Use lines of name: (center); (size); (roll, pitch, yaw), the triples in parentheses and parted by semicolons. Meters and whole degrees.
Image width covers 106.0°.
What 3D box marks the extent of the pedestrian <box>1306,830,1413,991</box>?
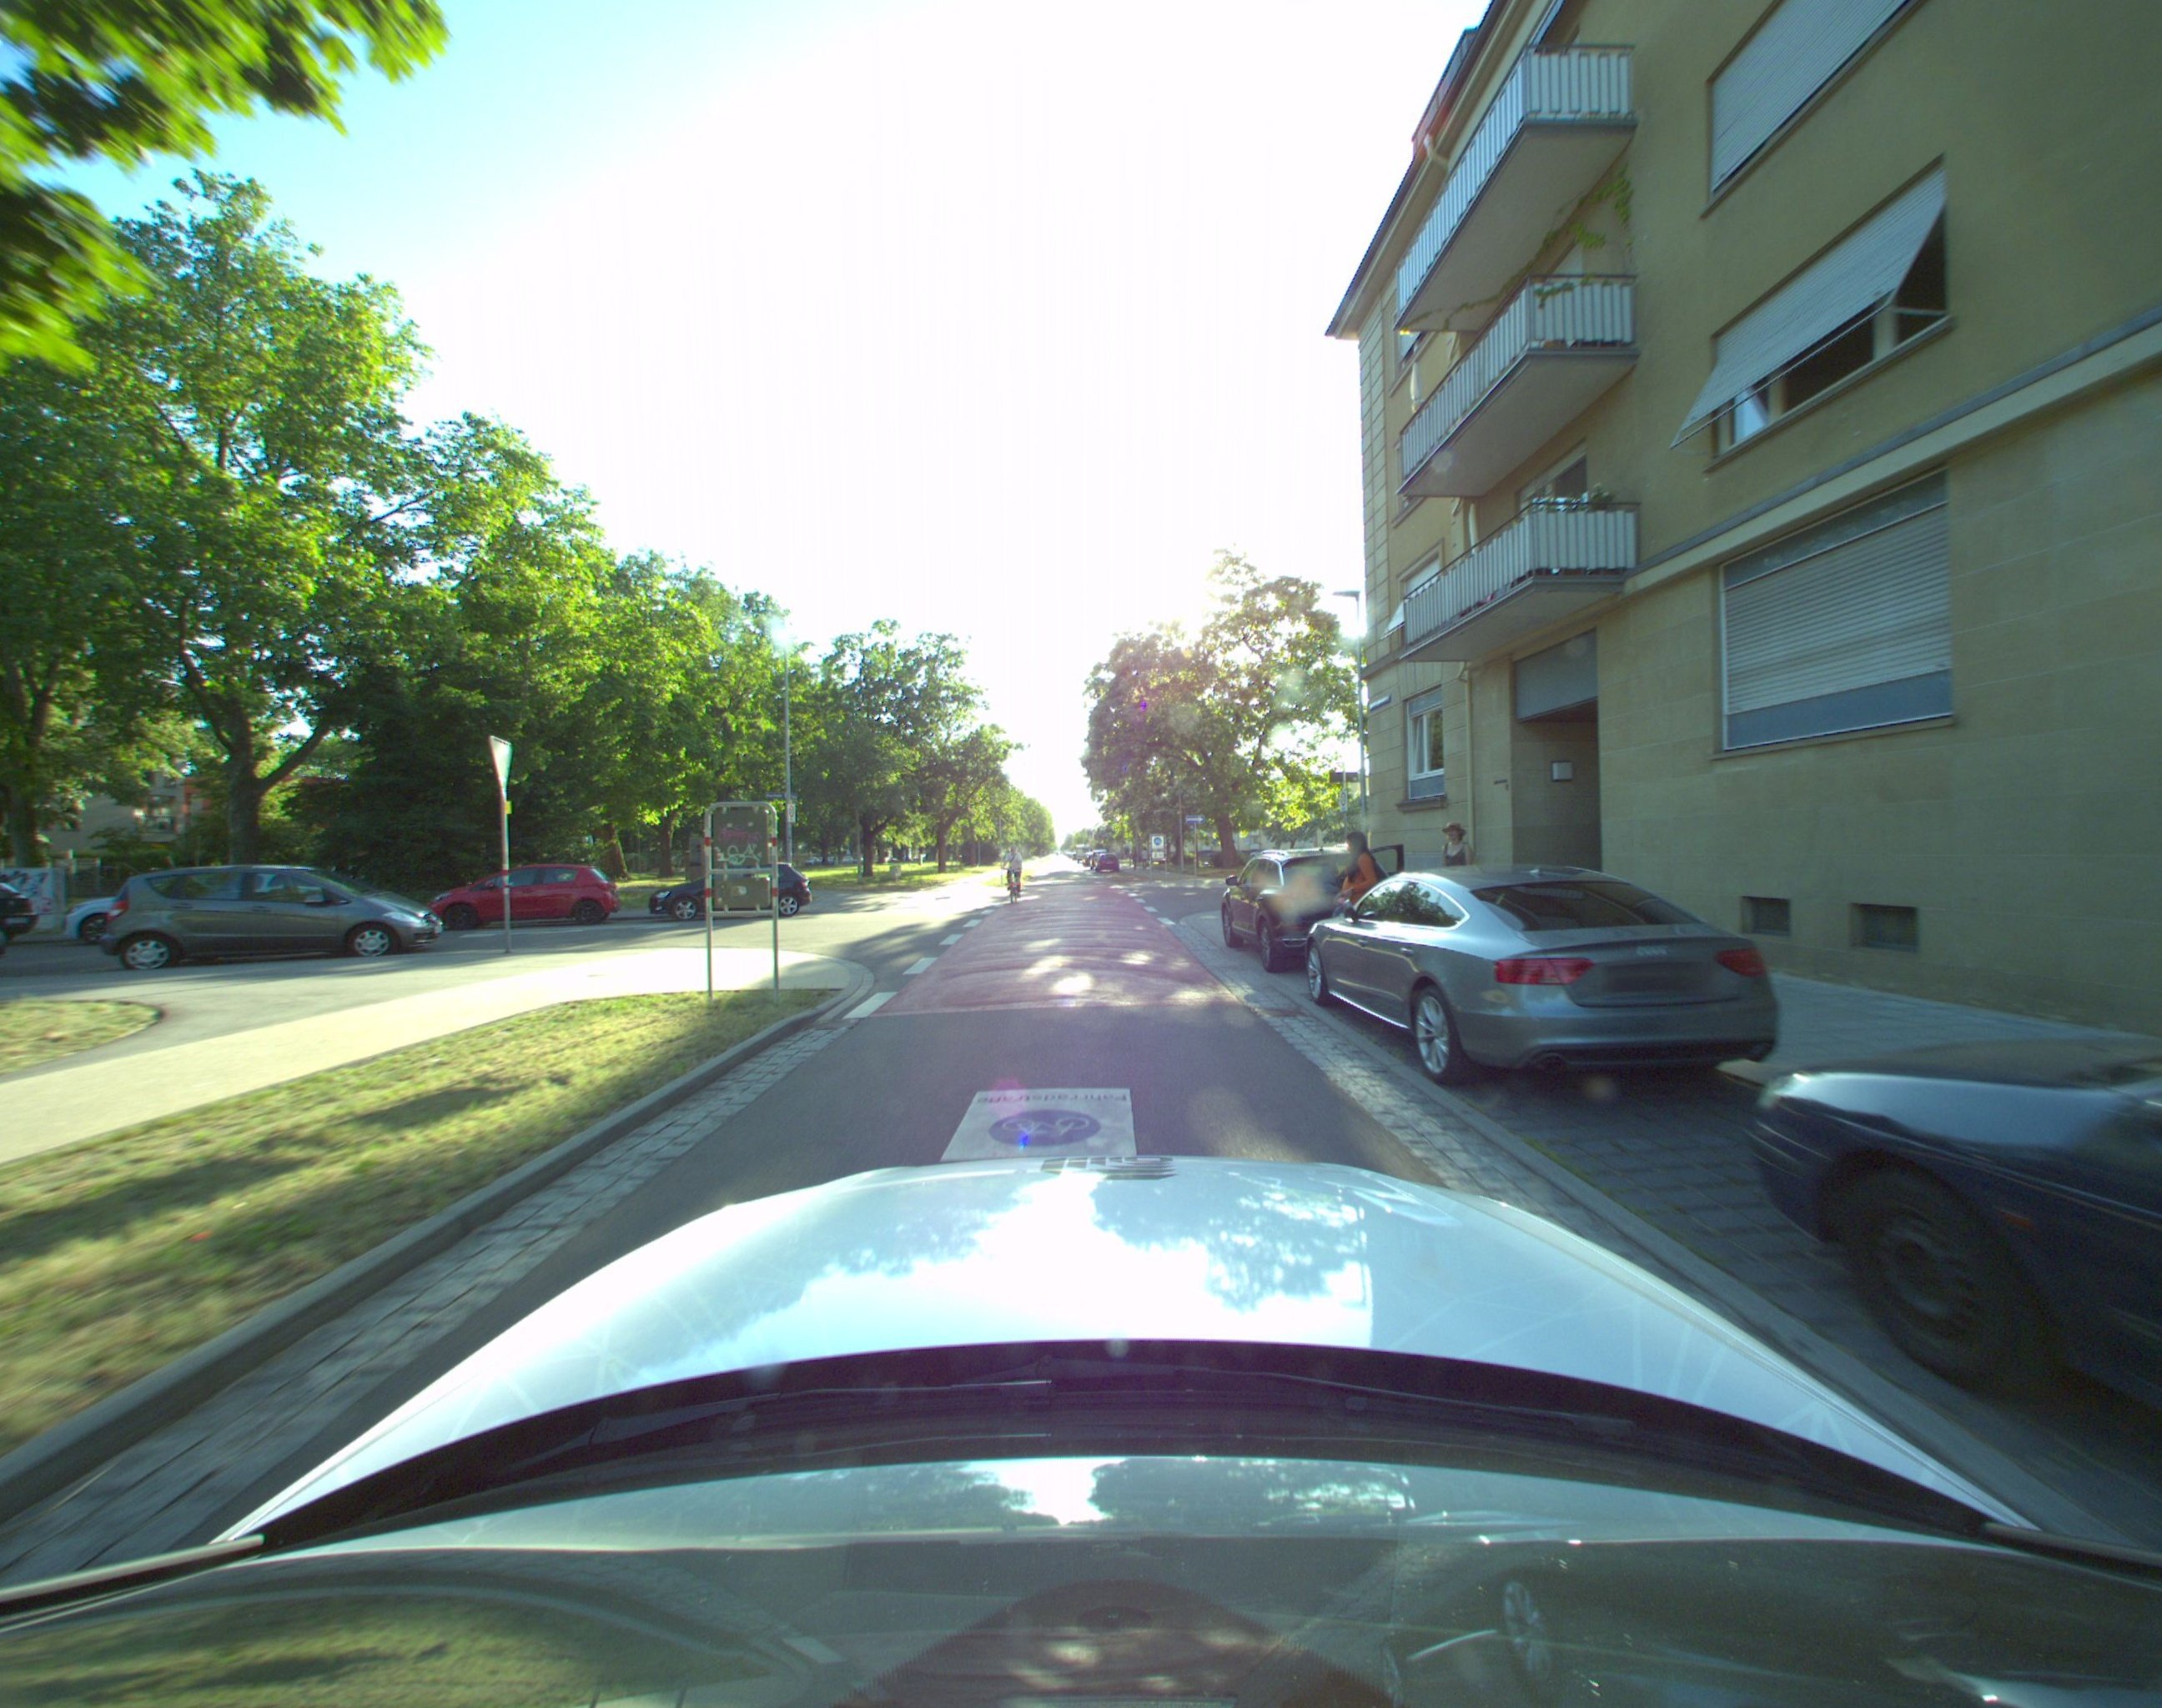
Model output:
pedestrian: (3.198, 0.624, 9.428); (0.950, 1.769, 0.778); (-1, 0, -3)

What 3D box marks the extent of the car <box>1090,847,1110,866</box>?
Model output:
car: (1.794, 0.230, 79.499); (1.674, 1.740, 4.510); (-2, 0, -2)

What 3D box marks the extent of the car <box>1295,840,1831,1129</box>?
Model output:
car: (3.118, 0.693, 6.486); (1.697, 1.420, 4.349); (-4, 0, 1)

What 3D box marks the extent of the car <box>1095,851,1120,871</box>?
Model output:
car: (2.097, 0.540, 65.535); (1.674, 1.486, 4.806); (-2, 0, -2)

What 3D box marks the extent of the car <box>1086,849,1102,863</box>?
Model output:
car: (1.456, 0.231, 94.908); (1.726, 1.551, 4.274); (-2, 0, -1)

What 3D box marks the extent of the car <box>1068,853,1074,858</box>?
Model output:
car: (-3.071, 0.490, 238.470); (1.622, 1.409, 4.246); (-2, 0, -2)

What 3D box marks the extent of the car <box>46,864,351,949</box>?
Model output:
car: (-18.720, 1.068, 17.566); (4.003, 1.574, 1.876); (-1, -2, -23)

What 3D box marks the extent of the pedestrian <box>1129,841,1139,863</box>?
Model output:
pedestrian: (4.203, -0.189, 64.538); (0.751, 1.736, 0.731); (-1, 0, -1)

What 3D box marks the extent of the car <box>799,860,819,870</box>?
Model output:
car: (-45.493, 1.775, 136.074); (1.988, 1.508, 3.998); (-2, 0, -1)

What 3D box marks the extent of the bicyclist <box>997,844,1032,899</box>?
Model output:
bicyclist: (-2.111, 0.538, 25.977); (0.933, 1.702, 0.907); (-1, 0, 5)

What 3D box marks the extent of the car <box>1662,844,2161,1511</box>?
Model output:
car: (3.260, 0.719, 1.273); (1.698, 1.420, 4.033); (-4, 0, -1)

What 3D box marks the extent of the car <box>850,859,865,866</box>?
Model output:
car: (-45.794, 1.746, 166.671); (1.988, 1.508, 4.113); (-2, 0, -1)

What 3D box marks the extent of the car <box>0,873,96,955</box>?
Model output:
car: (-22.734, 1.221, 15.916); (4.003, 1.574, 1.877); (-1, -2, -22)

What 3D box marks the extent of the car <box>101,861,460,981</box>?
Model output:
car: (-13.064, 1.007, 13.664); (3.854, 1.631, 1.824); (-2, 0, -26)

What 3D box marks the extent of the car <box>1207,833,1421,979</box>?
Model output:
car: (3.120, 0.577, 11.878); (1.698, 1.625, 4.346); (-4, 1, -1)

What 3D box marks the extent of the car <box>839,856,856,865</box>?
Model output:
car: (-45.153, 1.248, 157.637); (1.988, 1.508, 4.113); (-2, 0, -1)

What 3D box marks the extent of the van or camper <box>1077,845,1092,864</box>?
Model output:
van or camper: (0.562, 0.047, 132.382); (2.228, 2.904, 5.668); (-2, -1, -2)

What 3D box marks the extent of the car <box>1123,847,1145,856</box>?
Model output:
car: (10.062, -0.443, 154.661); (4.178, 1.530, 2.001); (-2, 0, 2)

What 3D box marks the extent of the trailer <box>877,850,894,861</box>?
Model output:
trailer: (-46.025, 0.460, 192.066); (2.452, 2.489, 7.047); (-2, 0, -1)

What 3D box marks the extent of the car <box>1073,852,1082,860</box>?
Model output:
car: (-0.754, 0.385, 173.589); (1.622, 1.669, 4.246); (-2, 0, -2)

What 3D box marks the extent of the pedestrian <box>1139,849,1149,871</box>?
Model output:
pedestrian: (5.000, 0.437, 64.567); (0.723, 1.736, 0.731); (-1, 0, -1)

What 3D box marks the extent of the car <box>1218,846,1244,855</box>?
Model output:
car: (27.887, -0.668, 151.227); (4.476, 1.569, 1.889); (-2, 0, 17)

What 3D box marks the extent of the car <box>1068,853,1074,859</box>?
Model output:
car: (-2.741, 0.591, 227.499); (1.622, 1.409, 4.246); (-2, 0, -2)

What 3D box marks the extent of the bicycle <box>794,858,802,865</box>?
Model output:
bicycle: (-46.807, 1.249, 134.565); (0.655, 1.175, 2.330); (-2, 0, -4)

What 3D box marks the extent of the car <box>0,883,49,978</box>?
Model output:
car: (-18.191, 1.221, 11.373); (4.282, 1.400, 1.825); (-2, 0, -24)

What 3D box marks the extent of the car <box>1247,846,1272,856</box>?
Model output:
car: (31.336, -0.574, 142.864); (3.950, 1.552, 1.620); (-2, 0, 26)

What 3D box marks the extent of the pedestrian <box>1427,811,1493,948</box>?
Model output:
pedestrian: (5.262, 0.334, 11.305); (0.735, 1.830, 0.550); (-1, 0, -38)

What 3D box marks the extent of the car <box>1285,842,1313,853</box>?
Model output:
car: (38.935, -1.130, 145.538); (4.467, 1.746, 1.893); (-2, 0, 33)

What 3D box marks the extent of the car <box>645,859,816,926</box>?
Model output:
car: (-9.320, 0.980, 21.760); (4.008, 1.574, 1.874); (-1, -2, -27)

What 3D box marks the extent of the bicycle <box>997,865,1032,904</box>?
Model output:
bicycle: (-2.109, 0.943, 25.936); (0.734, 1.135, 2.107); (-1, 0, 5)

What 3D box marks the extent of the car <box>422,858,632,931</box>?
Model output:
car: (-13.382, 0.948, 19.984); (4.008, 1.574, 1.874); (-1, -2, -27)
